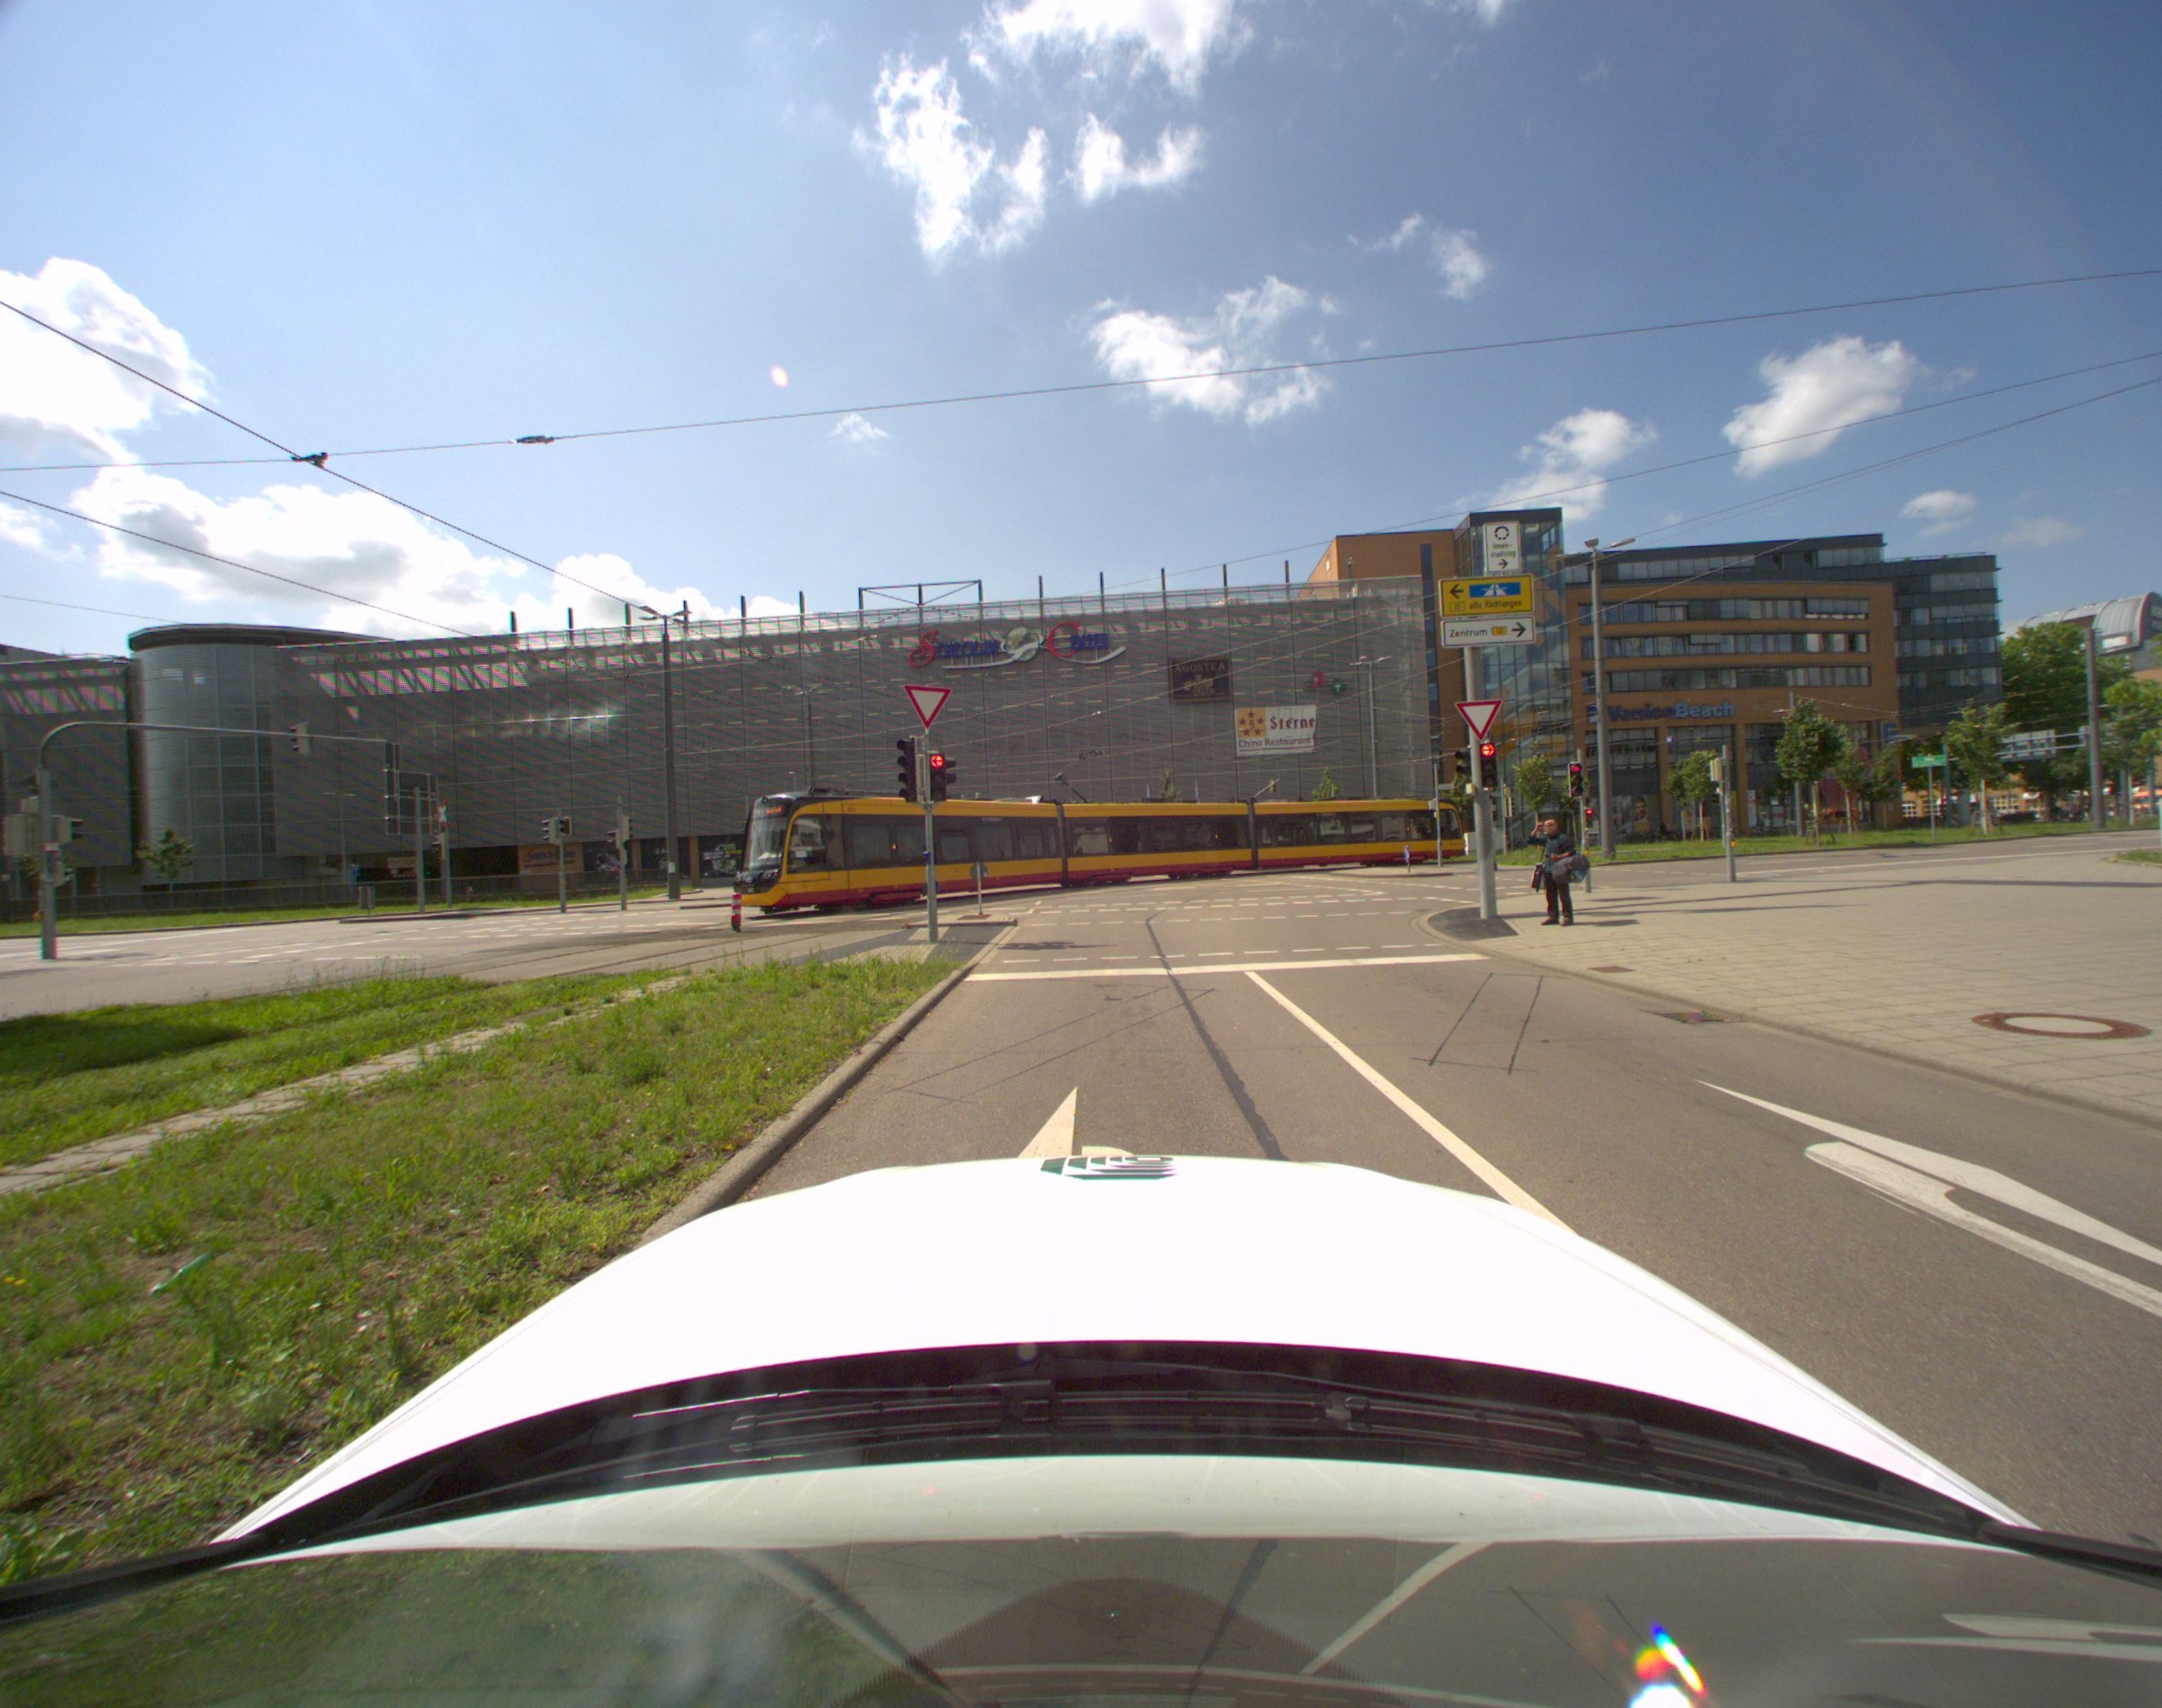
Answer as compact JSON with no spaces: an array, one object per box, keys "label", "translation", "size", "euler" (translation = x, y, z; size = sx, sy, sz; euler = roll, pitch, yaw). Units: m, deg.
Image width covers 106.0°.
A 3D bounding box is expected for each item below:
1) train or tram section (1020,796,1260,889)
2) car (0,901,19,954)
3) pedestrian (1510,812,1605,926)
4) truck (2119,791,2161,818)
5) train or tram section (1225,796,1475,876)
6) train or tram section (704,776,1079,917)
[{"label":"train or tram section","translation":[2.879,-0.594,35.920],"size":[11.039,3.603,3.032],"euler":[-2,0,-35]},{"label":"car","translation":[-32.483,2.183,22.455],"size":[4.081,1.469,1.829],"euler":[-3,0,3]},{"label":"pedestrian","translation":[7.545,0.236,12.919],"size":[0.810,1.702,0.911],"euler":[-3,-1,-26]},{"label":"truck","translation":[88.873,-4.098,67.379],"size":[5.523,2.085,1.987],"euler":[-2,0,-20]},{"label":"train or tram section","translation":[13.714,-0.983,41.252],"size":[12.628,3.621,3.047],"euler":[-2,0,-18]},{"label":"train or tram section","translation":[-5.285,-0.305,27.364],"size":[3.185,3.599,13.588],"euler":[-2,0,34]}]
